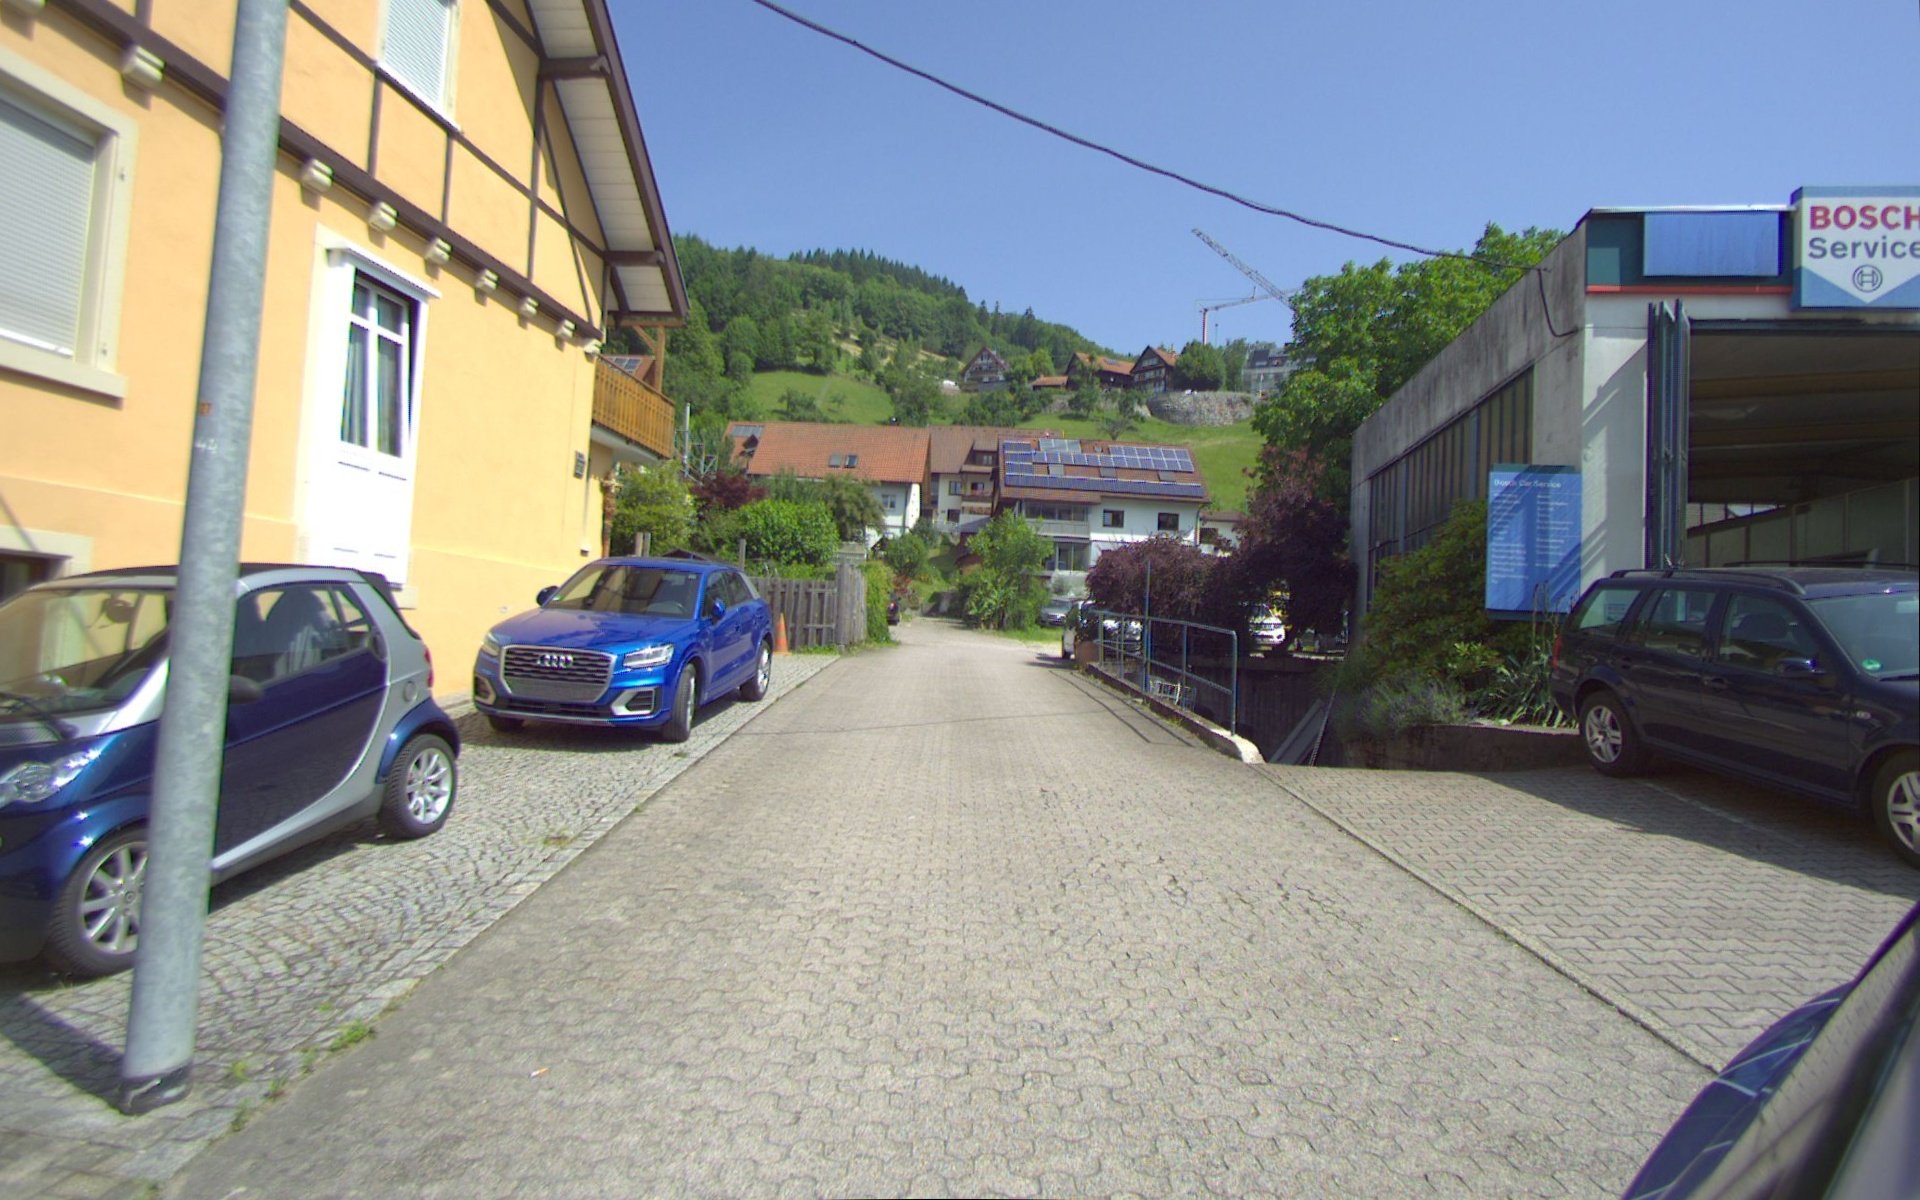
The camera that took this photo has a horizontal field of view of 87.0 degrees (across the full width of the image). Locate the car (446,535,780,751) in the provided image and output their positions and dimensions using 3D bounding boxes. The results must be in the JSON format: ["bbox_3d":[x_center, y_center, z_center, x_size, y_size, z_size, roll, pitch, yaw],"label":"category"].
[{"bbox_3d":[-3.071,0.309,9.863,1.703,1.646,3.931,1,1,3],"label":"car"}]

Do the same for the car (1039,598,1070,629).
[{"bbox_3d":[4.507,0.616,48.535,1.320,1.388,3.211,0,0,3],"label":"car"}]

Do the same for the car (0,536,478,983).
[{"bbox_3d":[-3.747,0.492,4.887,1.400,1.554,2.660,-1,3,5],"label":"car"}]

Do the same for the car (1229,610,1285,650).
[{"bbox_3d":[10.887,1.076,37.240,1.443,1.274,3.380,2,1,8],"label":"car"}]

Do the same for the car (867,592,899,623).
[{"bbox_3d":[-3.071,0.288,40.532,1.091,1.077,2.866,4,1,-2],"label":"car"}]

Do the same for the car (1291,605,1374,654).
[{"bbox_3d":[13.293,1.016,36.350,1.649,1.574,3.908,0,0,2],"label":"car"}]

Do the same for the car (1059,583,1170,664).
[{"bbox_3d":[3.415,0.463,23.257,1.963,1.665,4.875,0,0,2],"label":"car"}]

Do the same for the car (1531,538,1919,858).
[{"bbox_3d":[5.555,0.447,6.084,1.766,1.564,4.332,-1,1,0],"label":"car"}]
